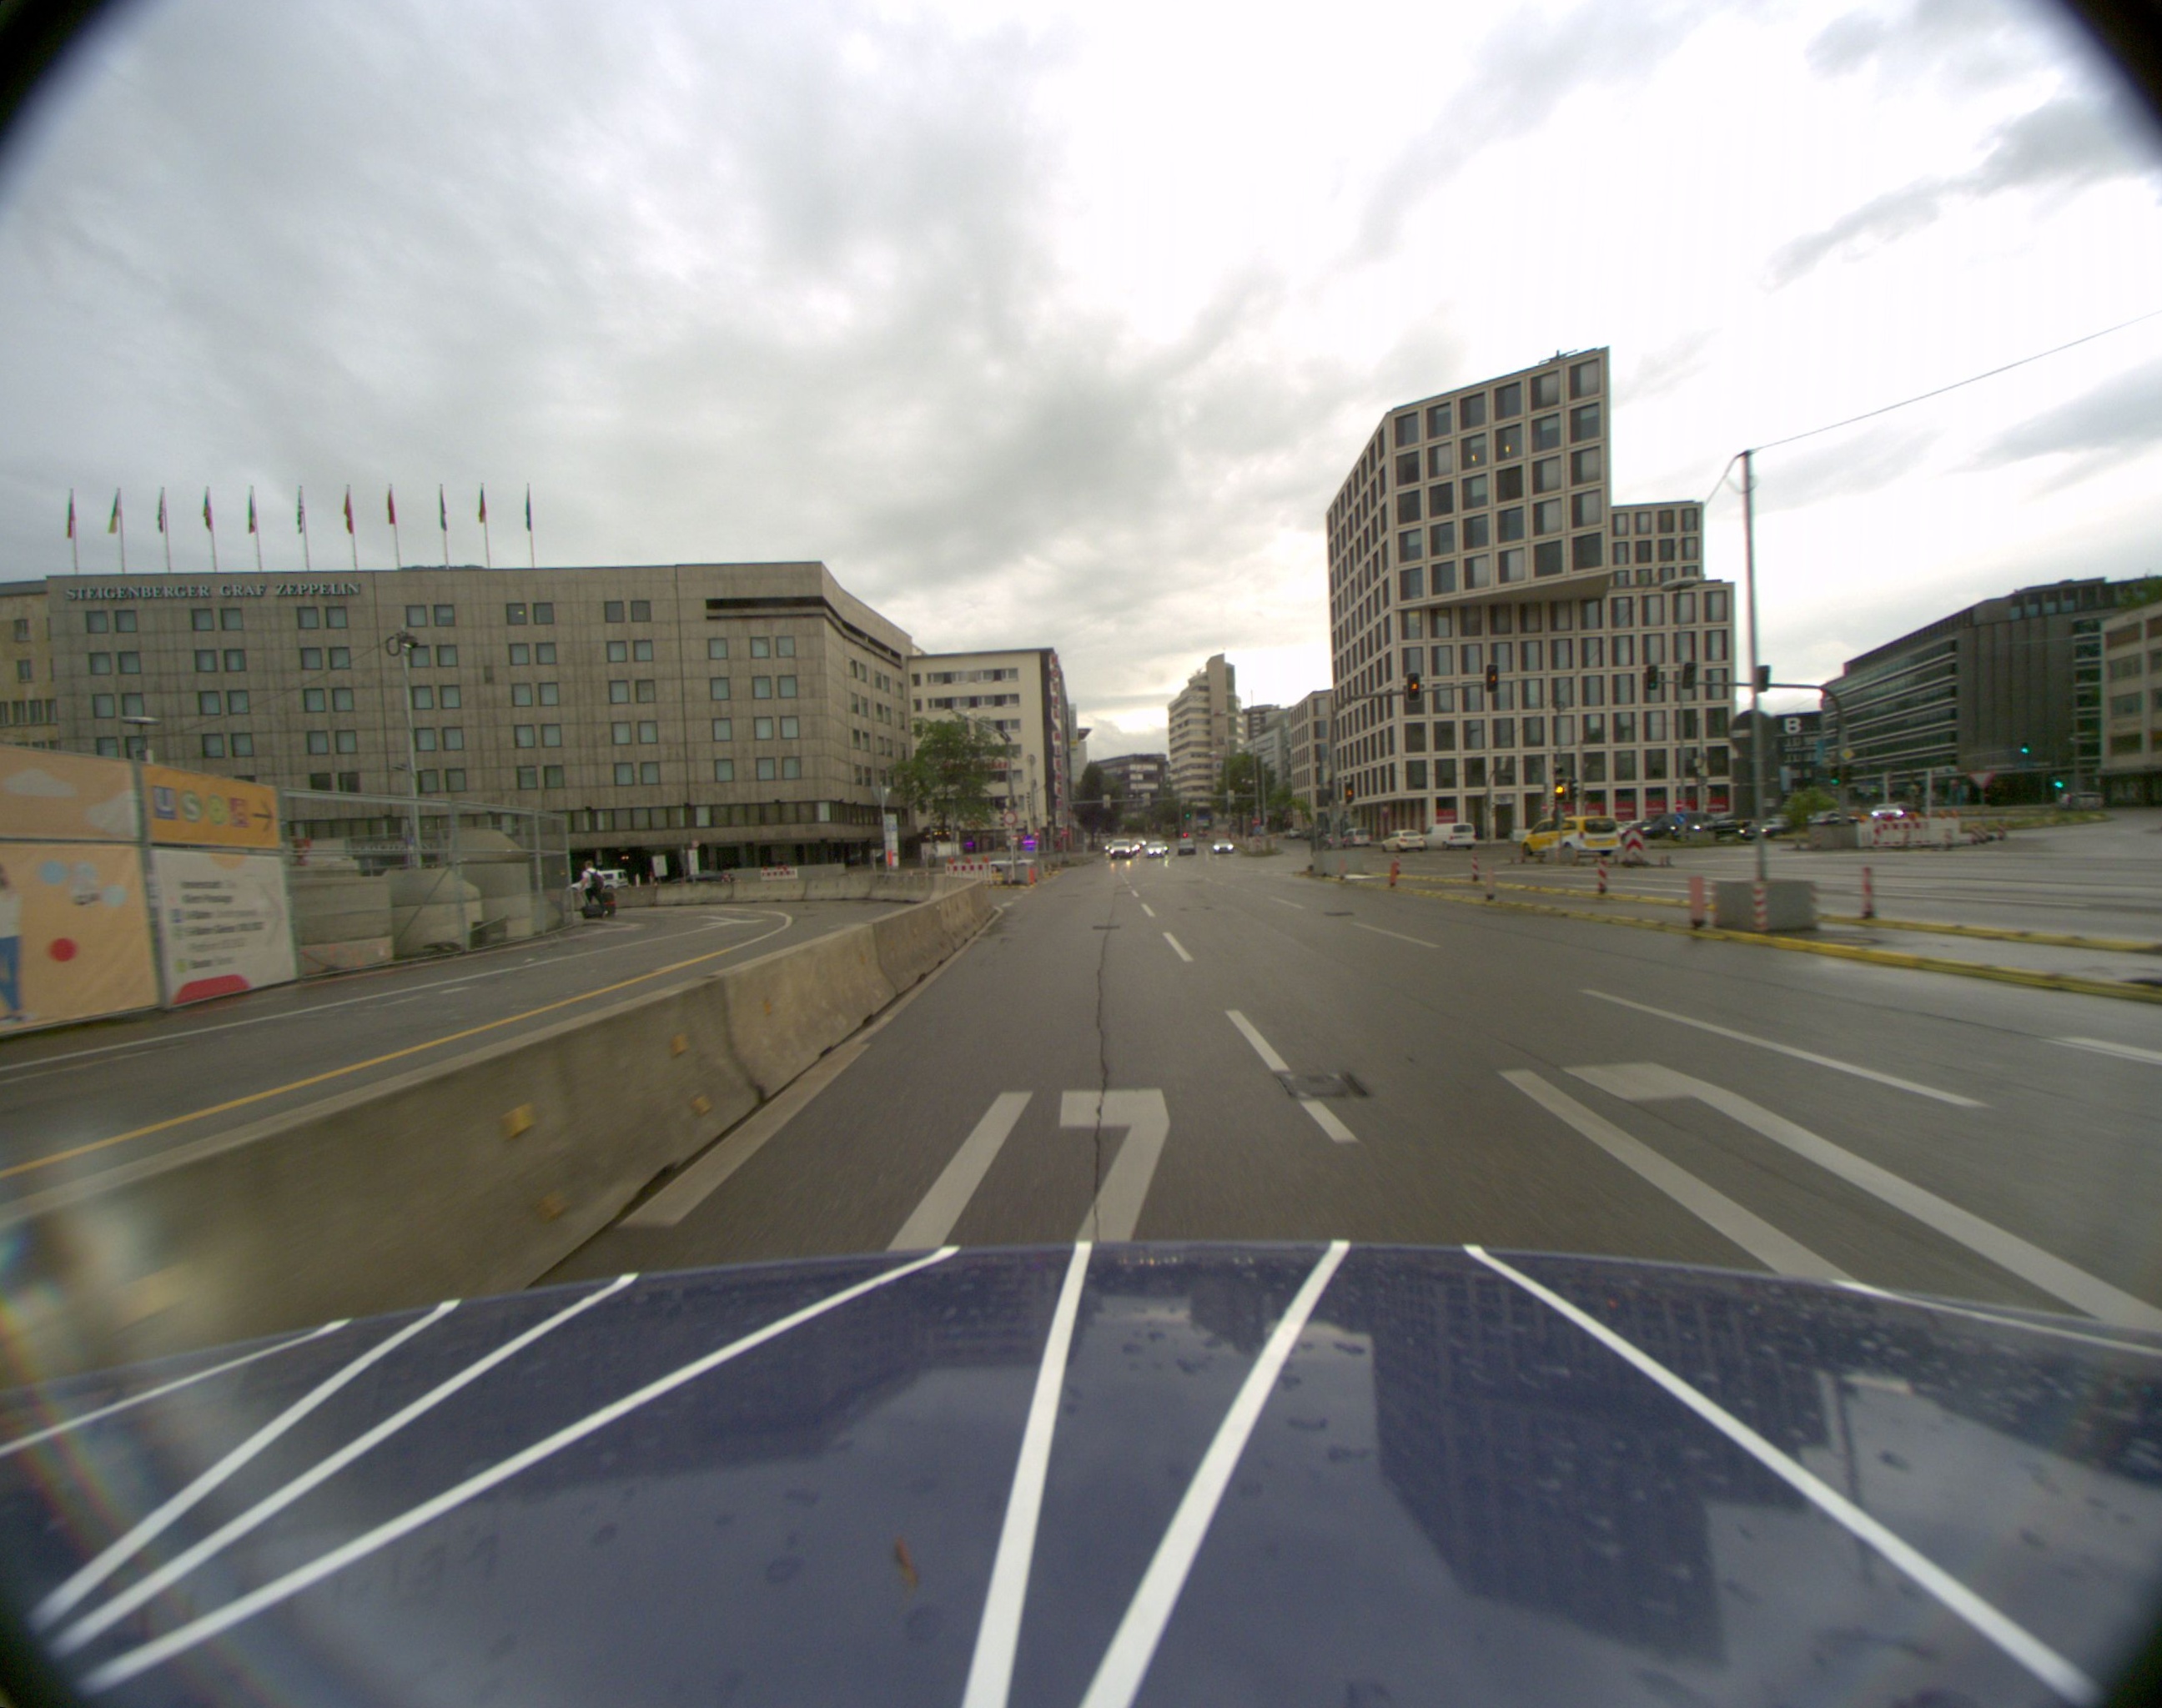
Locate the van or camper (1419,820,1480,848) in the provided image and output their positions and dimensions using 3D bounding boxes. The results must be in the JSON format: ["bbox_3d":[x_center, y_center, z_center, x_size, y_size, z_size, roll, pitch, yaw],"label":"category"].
[{"bbox_3d":[27.216,-1.468,56.287,1.886,1.883,5.211,-3,1,0],"label":"van or camper"}]

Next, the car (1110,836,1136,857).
[{"bbox_3d":[4.223,-0.738,75.404,2.085,1.893,5.087,-3,1,8],"label":"car"}]

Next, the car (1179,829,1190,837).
[{"bbox_3d":[24.129,-4.901,177.643,1.850,1.589,4.180,-3,1,0],"label":"car"}]

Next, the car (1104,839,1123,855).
[{"bbox_3d":[4.213,-0.924,98.053,1.921,2.002,4.002,-2,1,9],"label":"car"}]

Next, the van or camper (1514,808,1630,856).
[{"bbox_3d":[23.822,-1.033,37.189,2.244,2.043,5.607,-3,1,3],"label":"van or camper"}]

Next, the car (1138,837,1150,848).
[{"bbox_3d":[8.977,-1.664,108.685,1.671,1.475,3.486,-3,1,4],"label":"car"}]

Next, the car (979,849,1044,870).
[{"bbox_3d":[-5.251,0.436,57.380,4.523,1.302,1.643,-3,1,10],"label":"car"}]

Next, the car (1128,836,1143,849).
[{"bbox_3d":[6.586,-1.386,91.834,1.671,1.475,3.486,-3,1,4],"label":"car"}]

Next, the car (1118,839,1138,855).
[{"bbox_3d":[5.154,-0.799,83.216,2.016,1.589,4.663,-3,1,3],"label":"car"}]

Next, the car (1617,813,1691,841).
[{"bbox_3d":[42.782,-2.014,56.815,3.995,1.805,1.806,-3,2,7],"label":"car"}]

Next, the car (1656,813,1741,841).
[{"bbox_3d":[38.353,-1.669,47.240,3.999,1.477,1.835,-3,1,-7],"label":"car"}]

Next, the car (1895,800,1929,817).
[{"bbox_3d":[102.995,-5.594,94.210,1.994,2.002,4.007,-2,1,36],"label":"car"}]

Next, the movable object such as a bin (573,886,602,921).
[{"bbox_3d":[-15.082,1.521,23.223,0.552,1.010,0.520,-2,2,32],"label":"movable object such as a bin"}]

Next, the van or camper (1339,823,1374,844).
[{"bbox_3d":[27.674,-2.037,76.376,1.850,1.967,4.255,-3,1,0],"label":"van or camper"}]

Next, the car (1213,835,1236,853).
[{"bbox_3d":[13.933,-1.010,73.952,2.015,1.589,4.666,-3,1,10],"label":"car"}]

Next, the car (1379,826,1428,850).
[{"bbox_3d":[23.922,-1.197,56.543,1.846,1.664,4.380,-3,1,2],"label":"car"}]

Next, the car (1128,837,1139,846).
[{"bbox_3d":[9.002,-2.146,130.069,1.671,1.475,3.486,-3,1,4],"label":"car"}]

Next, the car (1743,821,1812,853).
[{"bbox_3d":[40.611,-0.969,44.285,4.005,1.687,1.692,-3,1,-28],"label":"car"}]

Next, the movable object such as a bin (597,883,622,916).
[{"bbox_3d":[-15.138,1.467,24.388,0.521,1.010,0.432,-2,2,32],"label":"movable object such as a bin"}]

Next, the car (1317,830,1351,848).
[{"bbox_3d":[24.440,-1.467,73.484,1.850,1.589,4.180,-3,1,0],"label":"car"}]

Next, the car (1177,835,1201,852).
[{"bbox_3d":[10.685,-1.074,75.601,2.016,1.589,4.664,-3,1,5],"label":"car"}]

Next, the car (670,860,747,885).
[{"bbox_3d":[-27.960,1.362,57.135,4.661,1.589,2.017,-3,1,-4],"label":"car"}]

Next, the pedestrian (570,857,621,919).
[{"bbox_3d":[-15.224,1.068,23.835,0.777,1.855,1.004,-2,2,32],"label":"pedestrian"}]

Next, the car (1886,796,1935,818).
[{"bbox_3d":[72.320,-4.122,66.246,4.136,1.706,1.853,-4,2,-27],"label":"car"}]

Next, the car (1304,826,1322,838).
[{"bbox_3d":[32.018,-2.990,104.779,1.864,1.514,4.002,-2,1,10],"label":"car"}]

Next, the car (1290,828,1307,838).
[{"bbox_3d":[33.313,-3.200,116.511,1.865,1.514,4.002,-2,1,8],"label":"car"}]

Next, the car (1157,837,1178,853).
[{"bbox_3d":[9.210,-0.986,80.963,2.016,1.589,4.664,-3,1,5],"label":"car"}]

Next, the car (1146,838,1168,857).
[{"bbox_3d":[7.377,-0.673,74.024,2.016,1.728,4.664,-3,1,5],"label":"car"}]

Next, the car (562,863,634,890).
[{"bbox_3d":[-38.166,1.754,60.103,4.369,1.752,1.779,-3,1,-3],"label":"car"}]
